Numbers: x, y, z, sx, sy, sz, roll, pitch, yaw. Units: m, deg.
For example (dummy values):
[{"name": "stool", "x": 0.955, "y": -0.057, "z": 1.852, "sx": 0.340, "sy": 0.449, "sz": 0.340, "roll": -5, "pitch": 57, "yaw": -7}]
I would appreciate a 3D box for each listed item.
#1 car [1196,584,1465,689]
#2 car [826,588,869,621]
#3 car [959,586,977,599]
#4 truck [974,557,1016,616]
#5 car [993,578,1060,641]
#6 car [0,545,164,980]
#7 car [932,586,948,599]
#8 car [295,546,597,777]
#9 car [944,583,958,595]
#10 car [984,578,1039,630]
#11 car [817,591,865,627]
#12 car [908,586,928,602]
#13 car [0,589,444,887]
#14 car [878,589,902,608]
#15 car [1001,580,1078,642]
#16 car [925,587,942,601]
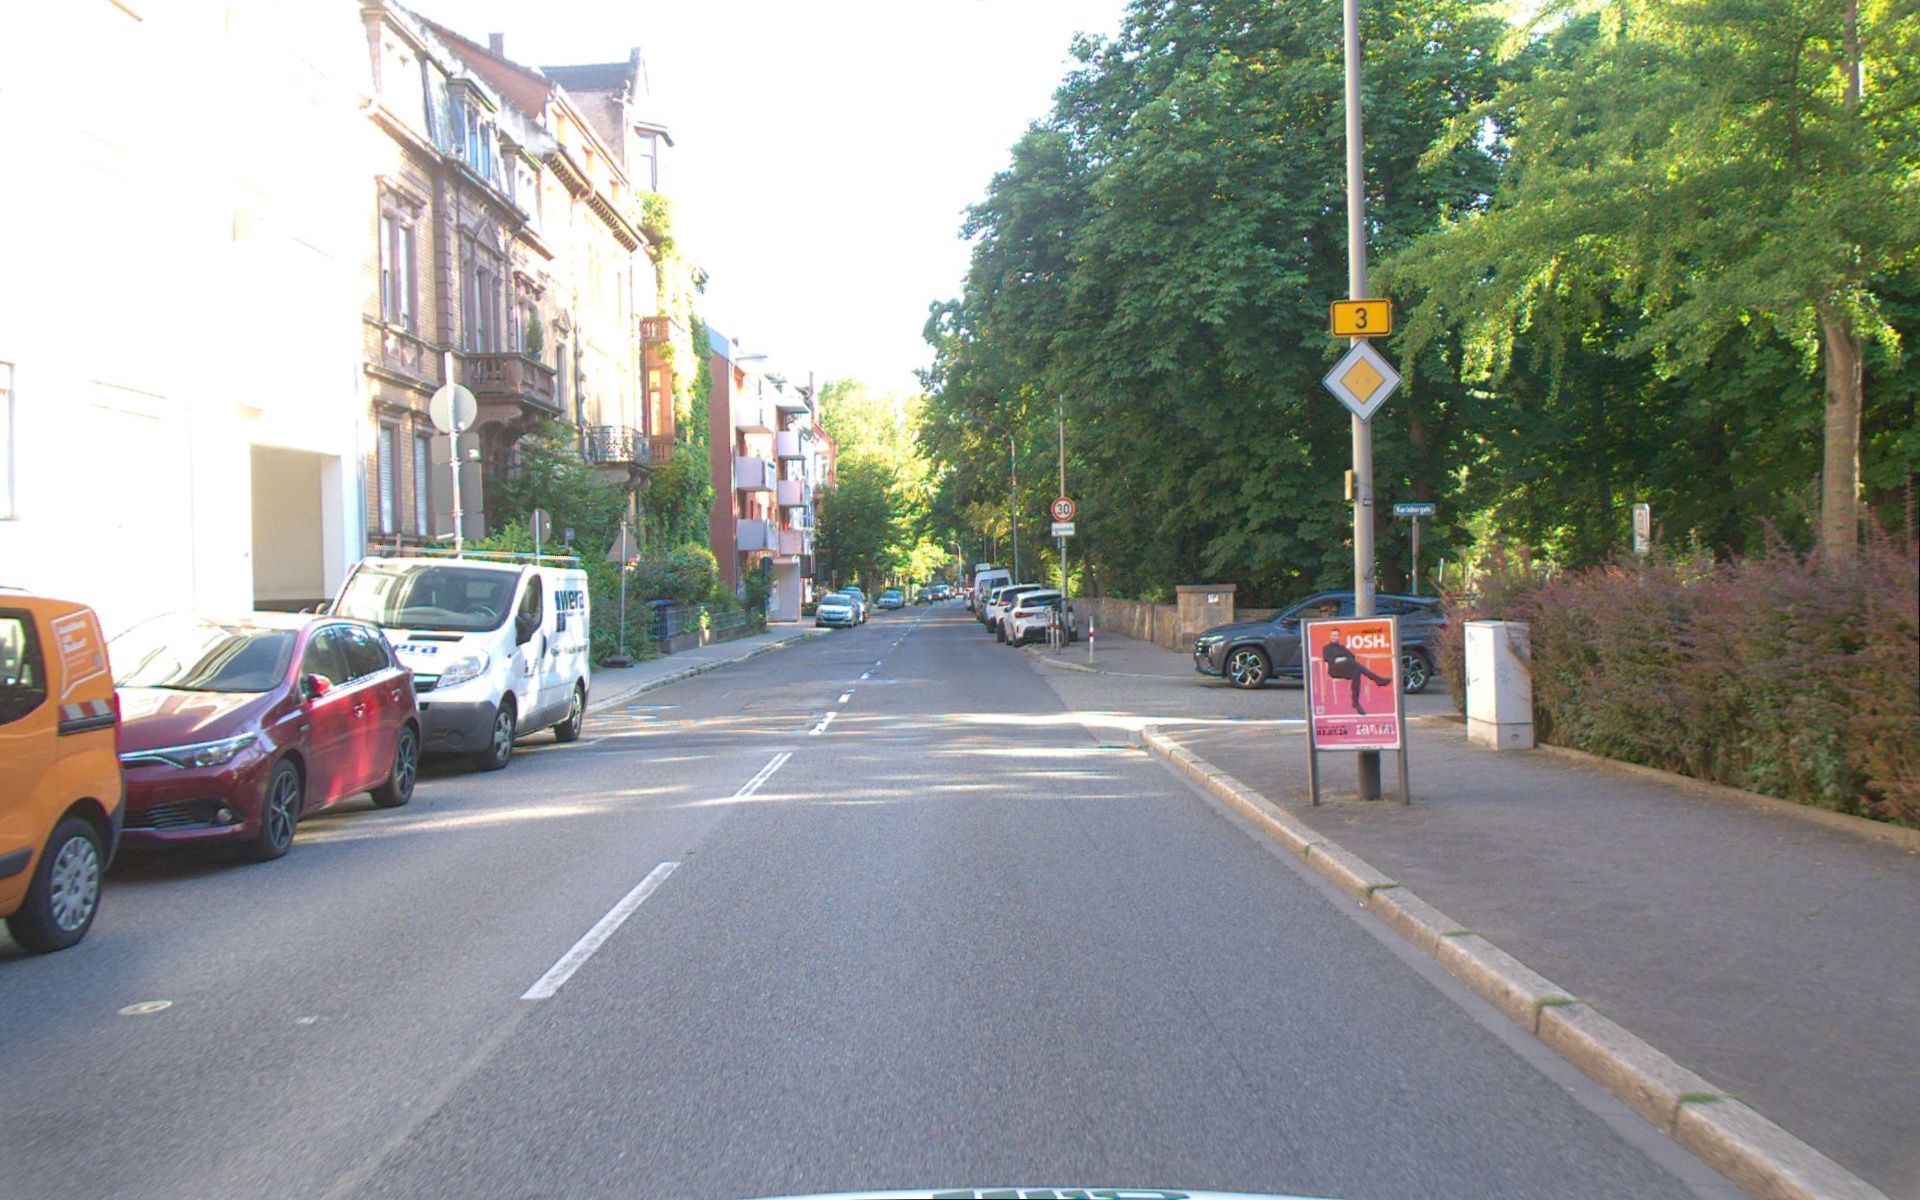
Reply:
[{"name": "car", "x": 6.252, "y": 0.583, "z": 28.369, "sx": 4.342, "sy": 1.681, "sz": 2.002, "roll": 0, "pitch": 1, "yaw": 8}, {"name": "car", "x": -5.811, "y": 0.226, "z": 85.789, "sx": 1.953, "sy": 1.517, "sz": 4.470, "roll": -2, "pitch": 1, "yaw": -1}, {"name": "car", "x": 1.061, "y": -0.917, "z": 213.025, "sx": 1.954, "sy": 1.517, "sz": 4.467, "roll": -2, "pitch": 1, "yaw": -4}, {"name": "truck", "x": 1.820, "y": -0.751, "z": 87.349, "sx": 1.953, "sy": 2.947, "sz": 4.470, "roll": -2, "pitch": 1, "yaw": -1}, {"name": "car", "x": 2.035, "y": 0.250, "z": 51.681, "sx": 1.952, "sy": 1.767, "sz": 4.001, "roll": -2, "pitch": 1, "yaw": 1}, {"name": "car", "x": -4.720, "y": 0.668, "z": 6.225, "sx": 1.668, "sy": 1.769, "sz": 3.856, "roll": 0, "pitch": 1, "yaw": -2}, {"name": "car", "x": -2.647, "y": -0.986, "z": 217.594, "sx": 1.953, "sy": 1.517, "sz": 4.470, "roll": -2, "pitch": 1, "yaw": -1}, {"name": "car", "x": -5.062, "y": 0.516, "z": 16.983, "sx": 1.756, "sy": 2.045, "sz": 4.696, "roll": 0, "pitch": 1, "yaw": -2}, {"name": "car", "x": -1.353, "y": -1.628, "z": 239.749, "sx": 1.953, "sy": 1.517, "sz": 4.470, "roll": -2, "pitch": 1, "yaw": -1}, {"name": "car", "x": 1.907, "y": 0.121, "z": 62.361, "sx": 1.952, "sy": 1.767, "sz": 4.001, "roll": -2, "pitch": 1, "yaw": 1}, {"name": "car", "x": -5.606, "y": 0.408, "z": 78.254, "sx": 1.953, "sy": 1.517, "sz": 4.470, "roll": -2, "pitch": 1, "yaw": -1}, {"name": "car", "x": -4.254, "y": -0.621, "z": 167.524, "sx": 1.953, "sy": 1.517, "sz": 4.470, "roll": -2, "pitch": 1, "yaw": -1}, {"name": "car", "x": -4.971, "y": 0.763, "z": 11.359, "sx": 1.668, "sy": 1.648, "sz": 4.116, "roll": 0, "pitch": 1, "yaw": -2}, {"name": "car", "x": -6.118, "y": -0.136, "z": 145.049, "sx": 1.953, "sy": 1.517, "sz": 4.470, "roll": -2, "pitch": 1, "yaw": -1}, {"name": "car", "x": 2.174, "y": 0.274, "z": 46.182, "sx": 1.952, "sy": 1.544, "sz": 4.001, "roll": -2, "pitch": 1, "yaw": 1}, {"name": "car", "x": -3.135, "y": -0.778, "z": 197.525, "sx": 1.953, "sy": 1.517, "sz": 4.470, "roll": -2, "pitch": 1, "yaw": -1}]
